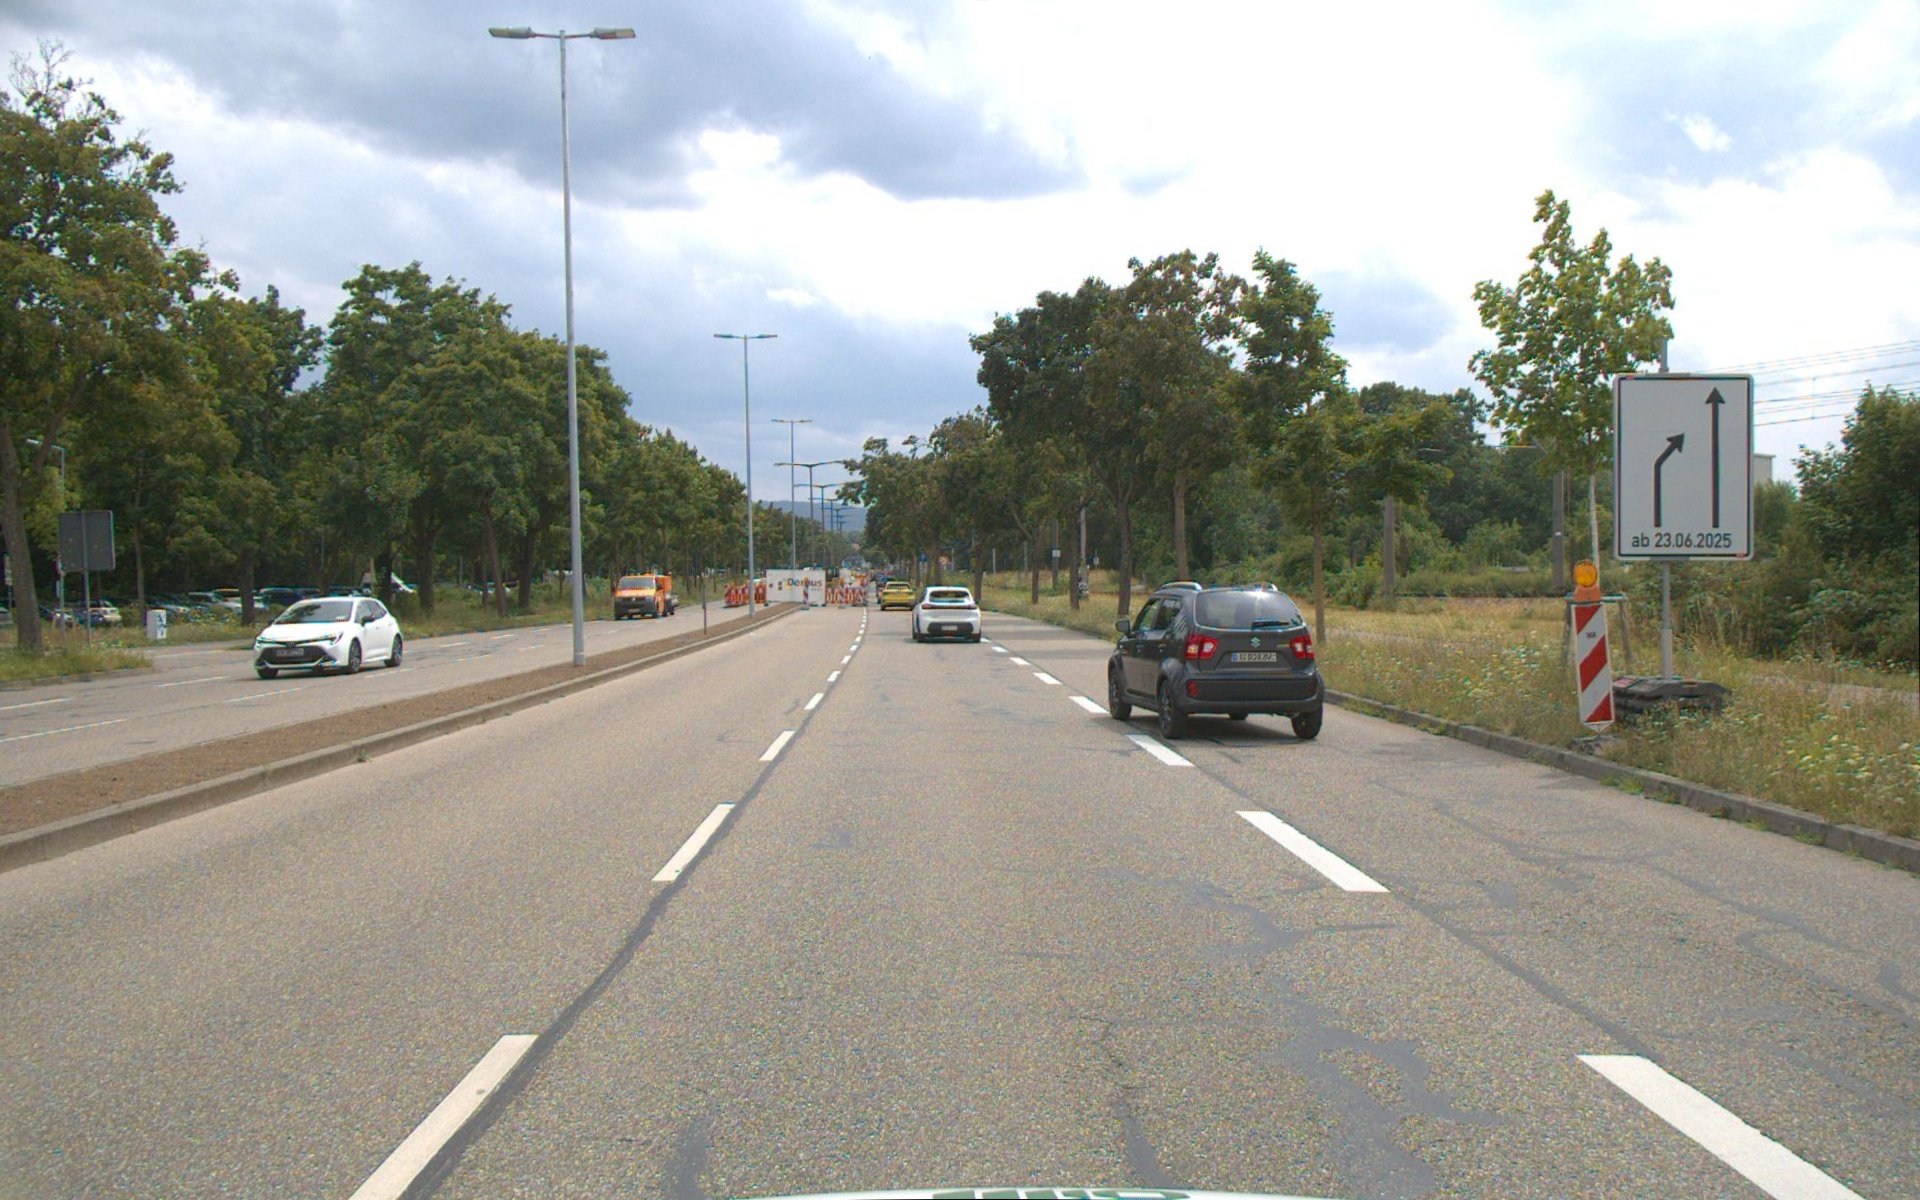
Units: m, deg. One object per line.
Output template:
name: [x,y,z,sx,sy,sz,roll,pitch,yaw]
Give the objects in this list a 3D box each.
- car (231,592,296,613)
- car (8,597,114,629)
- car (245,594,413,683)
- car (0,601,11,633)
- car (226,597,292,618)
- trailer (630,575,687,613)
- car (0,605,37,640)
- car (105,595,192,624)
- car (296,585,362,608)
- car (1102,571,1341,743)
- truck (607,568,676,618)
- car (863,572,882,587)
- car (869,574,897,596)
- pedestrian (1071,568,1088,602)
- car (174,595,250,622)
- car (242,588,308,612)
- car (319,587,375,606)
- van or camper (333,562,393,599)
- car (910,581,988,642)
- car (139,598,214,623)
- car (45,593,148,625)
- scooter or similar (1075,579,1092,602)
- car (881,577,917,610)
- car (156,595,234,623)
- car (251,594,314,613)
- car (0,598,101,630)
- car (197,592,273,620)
car: [-42.000,0.152,99.769,3.298,1.148,1.441,-1,1,-2]
car: [-41.931,0.583,77.185,3.905,1.384,1.822,-1,1,0]
car: [-12.101,0.686,32.001,1.682,1.444,4.159,-2,1,-1]
car: [-40.955,0.732,67.132,3.907,1.281,1.563,-1,1,-2]
car: [-41.701,0.437,98.466,3.298,1.132,1.441,-1,1,-2]
trailer: [-14.382,-0.306,79.014,2.020,1.719,3.894,-2,1,-1]
car: [-41.426,0.949,70.244,3.575,1.436,1.517,-1,1,0]
car: [-41.904,0.477,85.447,3.571,1.384,1.708,-1,1,0]
car: [-42.797,-0.225,112.301,3.695,1.450,1.966,-1,1,0]
car: [2.774,0.529,18.429,1.670,1.697,3.995,0,1,-6]
truck: [-14.280,-0.359,74.440,2.046,2.029,6.037,-2,1,-2]
car: [-10.919,-2.554,206.390,2.161,1.713,4.000,-1,1,0]
car: [-4.779,-0.928,102.991,1.633,1.292,3.999,-1,1,-1]
pedestrian: [6.173,-0.779,85.309,0.677,1.725,0.932,-1,1,-7]
car: [-42.262,0.487,93.501,3.575,1.436,1.517,-1,1,0]
car: [-42.093,-0.020,101.684,3.477,1.436,1.322,-1,1,-1]
car: [-42.805,-0.268,115.528,3.298,1.253,1.441,-1,1,-2]
van or camper: [-46.332,-1.491,128.473,3.907,2.804,1.926,-1,1,-3]
car: [-0.346,0.279,44.656,1.732,1.489,3.996,-1,1,-6]
car: [-41.586,0.550,87.857,3.227,1.227,1.517,-1,1,0]
car: [-41.580,0.407,79.724,3.904,1.435,2.001,-1,1,2]
scooter or similar: [6.291,-0.482,84.386,0.669,1.149,0.932,-1,1,-7]
car: [-3.098,-0.351,84.352,1.757,1.589,3.999,-1,1,-1]
car: [-42.111,0.505,91.093,3.575,1.436,1.517,-1,1,0]
car: [-42.267,0.207,103.244,3.298,1.113,1.441,-1,1,-2]
car: [-41.477,0.631,75.192,3.905,1.384,1.667,-1,1,0]
car: [-42.118,0.317,96.115,3.575,1.546,1.883,-1,1,0]
